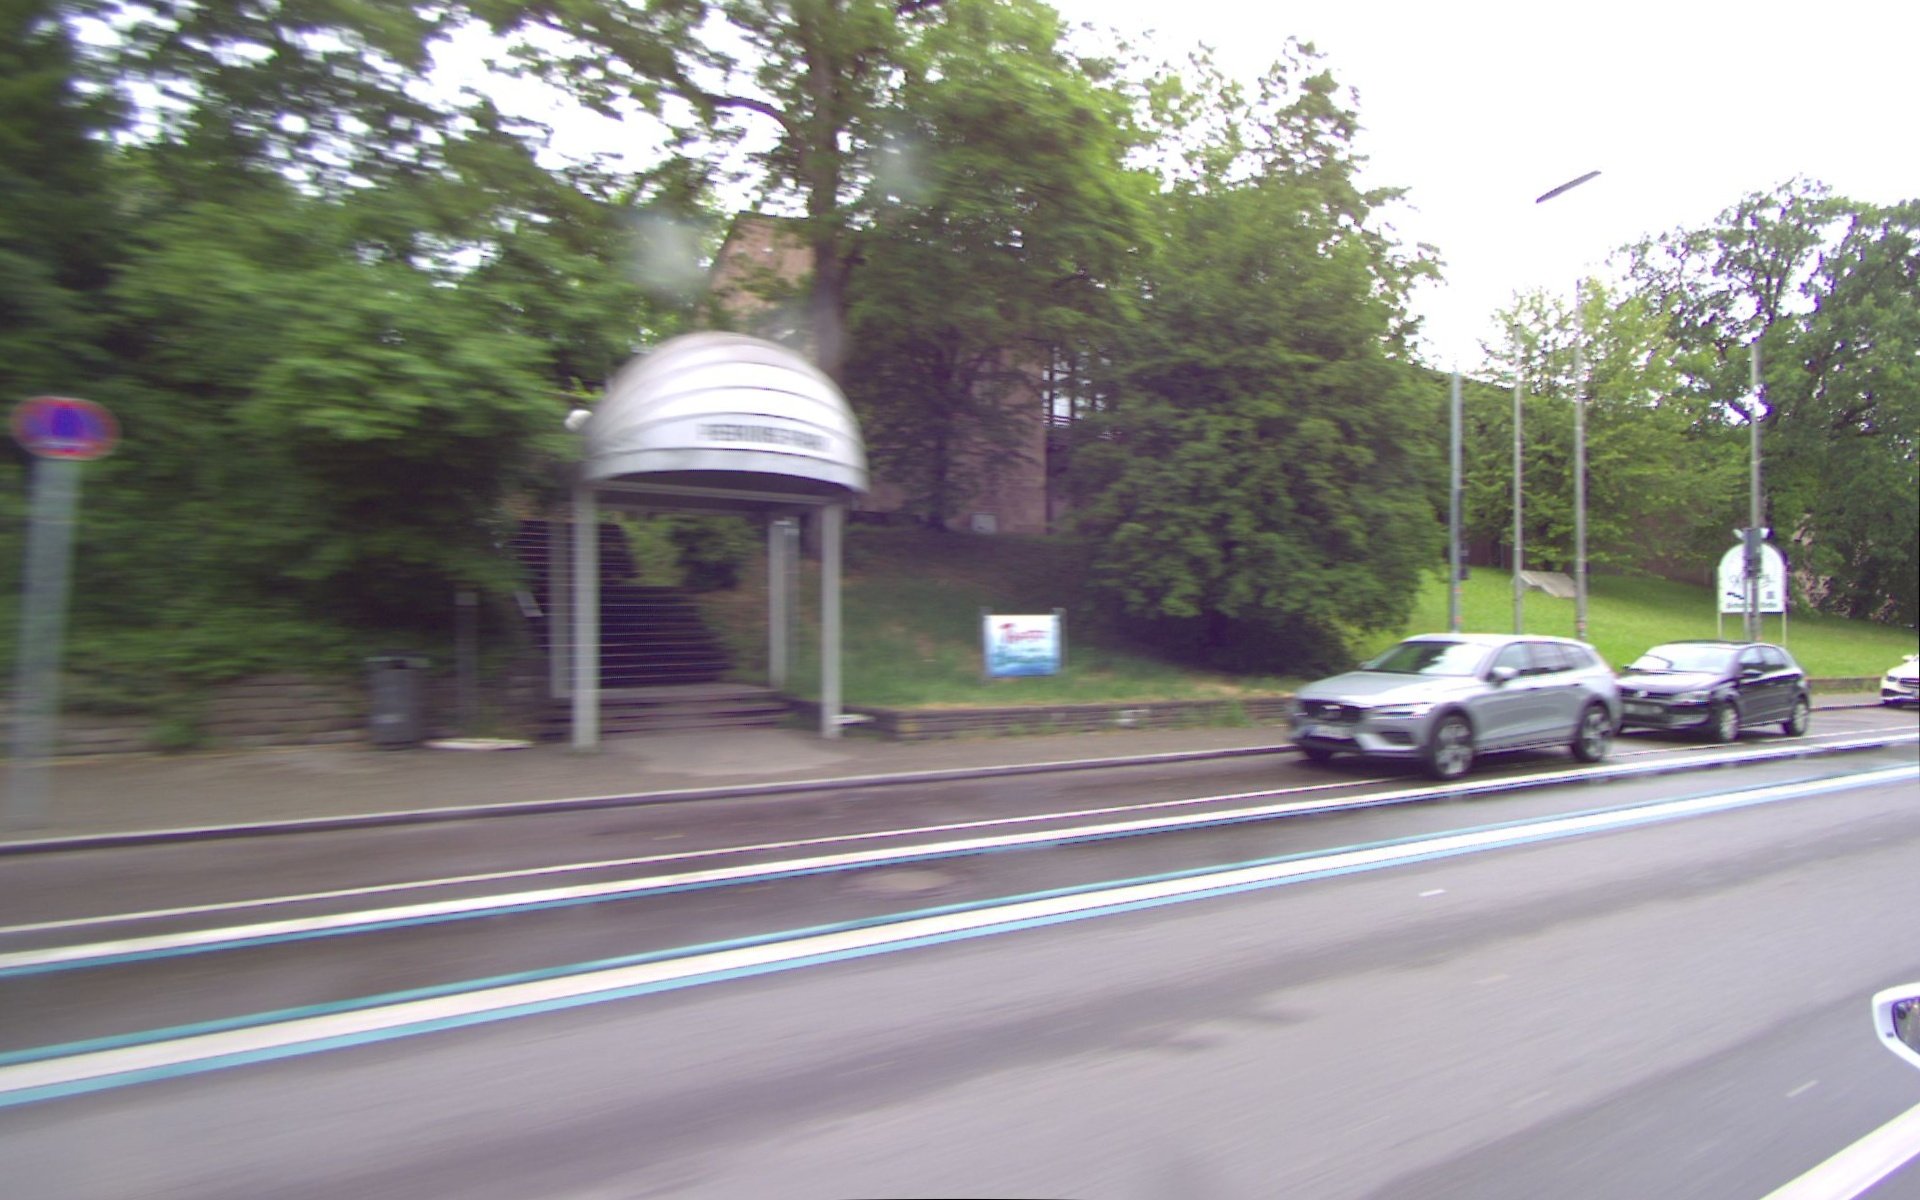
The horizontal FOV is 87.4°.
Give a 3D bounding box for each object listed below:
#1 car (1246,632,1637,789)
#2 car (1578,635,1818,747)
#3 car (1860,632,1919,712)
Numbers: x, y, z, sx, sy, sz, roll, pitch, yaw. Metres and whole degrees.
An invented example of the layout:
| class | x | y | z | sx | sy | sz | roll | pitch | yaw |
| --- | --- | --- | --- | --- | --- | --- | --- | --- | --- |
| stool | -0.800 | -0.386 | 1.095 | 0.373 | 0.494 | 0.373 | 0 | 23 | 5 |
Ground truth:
| class | x | y | z | sx | sy | sz | roll | pitch | yaw |
| --- | --- | --- | --- | --- | --- | --- | --- | --- | --- |
| car | 5.814 | 1.160 | 11.992 | 4.621 | 1.502 | 2.066 | 1 | -1 | -32 |
| car | 11.449 | 1.310 | 15.519 | 4.010 | 1.456 | 1.686 | 1 | -1 | -33 |
| car | 21.816 | 1.511 | 21.741 | 4.923 | 1.627 | 1.982 | 1 | -1 | -29 |
